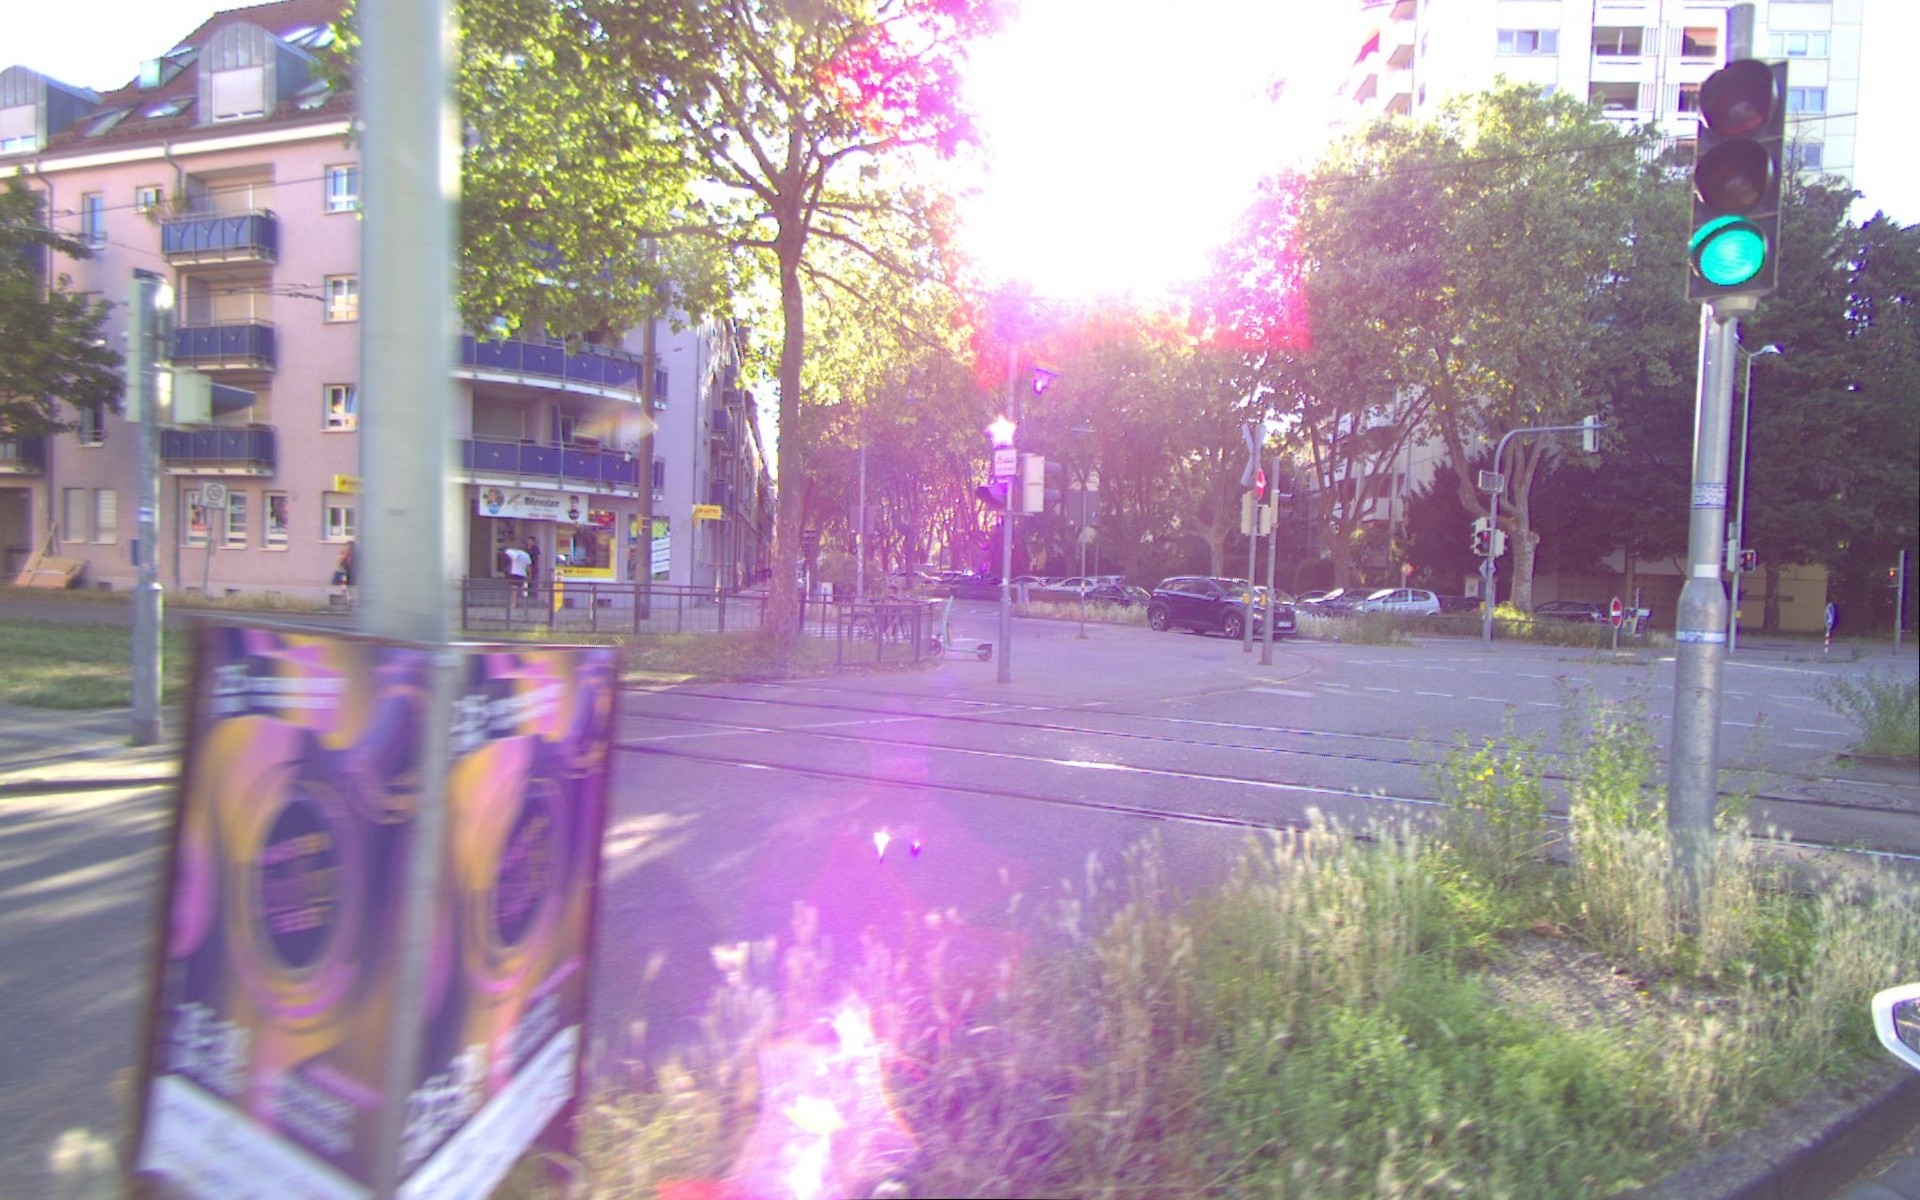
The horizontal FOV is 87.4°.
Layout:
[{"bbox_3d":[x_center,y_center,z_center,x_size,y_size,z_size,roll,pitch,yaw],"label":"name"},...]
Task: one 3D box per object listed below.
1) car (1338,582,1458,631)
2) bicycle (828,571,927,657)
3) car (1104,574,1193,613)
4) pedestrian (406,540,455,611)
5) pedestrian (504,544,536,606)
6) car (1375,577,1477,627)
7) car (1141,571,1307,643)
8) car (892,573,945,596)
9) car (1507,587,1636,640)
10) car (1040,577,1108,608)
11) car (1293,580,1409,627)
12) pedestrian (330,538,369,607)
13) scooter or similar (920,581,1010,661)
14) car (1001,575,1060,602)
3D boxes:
[{"bbox_3d":[16.676,0.231,38.373,3.732,1.617,1.738,3,2,2],"label":"car"},{"bbox_3d":[-1.436,0.218,17.174,1.812,1.324,0.382,4,2,35],"label":"bicycle"},{"bbox_3d":[9.002,-0.338,48.300,3.921,1.617,1.738,3,2,2],"label":"car"},{"bbox_3d":[-13.085,-0.611,24.840,0.607,1.689,0.926,3,2,6],"label":"pedestrian"},{"bbox_3d":[-12.243,-0.687,27.964,0.610,1.689,0.548,4,2,40],"label":"pedestrian"},{"bbox_3d":[21.544,0.062,46.623,1.970,2.041,3.980,2,2,-20],"label":"car"},{"bbox_3d":[6.758,0.143,26.117,1.721,1.617,3.961,2,2,-34],"label":"car"},{"bbox_3d":[-3.327,-1.267,81.368,3.919,1.617,1.739,3,2,11],"label":"car"},{"bbox_3d":[24.466,0.503,40.363,1.970,1.798,3.980,2,2,-20],"label":"car"},{"bbox_3d":[6.853,-0.477,60.676,3.921,1.617,1.738,3,2,2],"label":"car"},{"bbox_3d":[15.695,0.130,40.453,3.921,1.617,1.738,3,2,2],"label":"car"},{"bbox_3d":[-15.503,-0.699,25.506,0.607,1.689,0.551,3,2,13],"label":"pedestrian"},{"bbox_3d":[0.087,0.342,17.089,1.412,1.255,0.414,3,2,11],"label":"scooter or similar"},{"bbox_3d":[4.773,-0.812,68.652,3.921,1.617,1.738,3,2,2],"label":"car"}]
